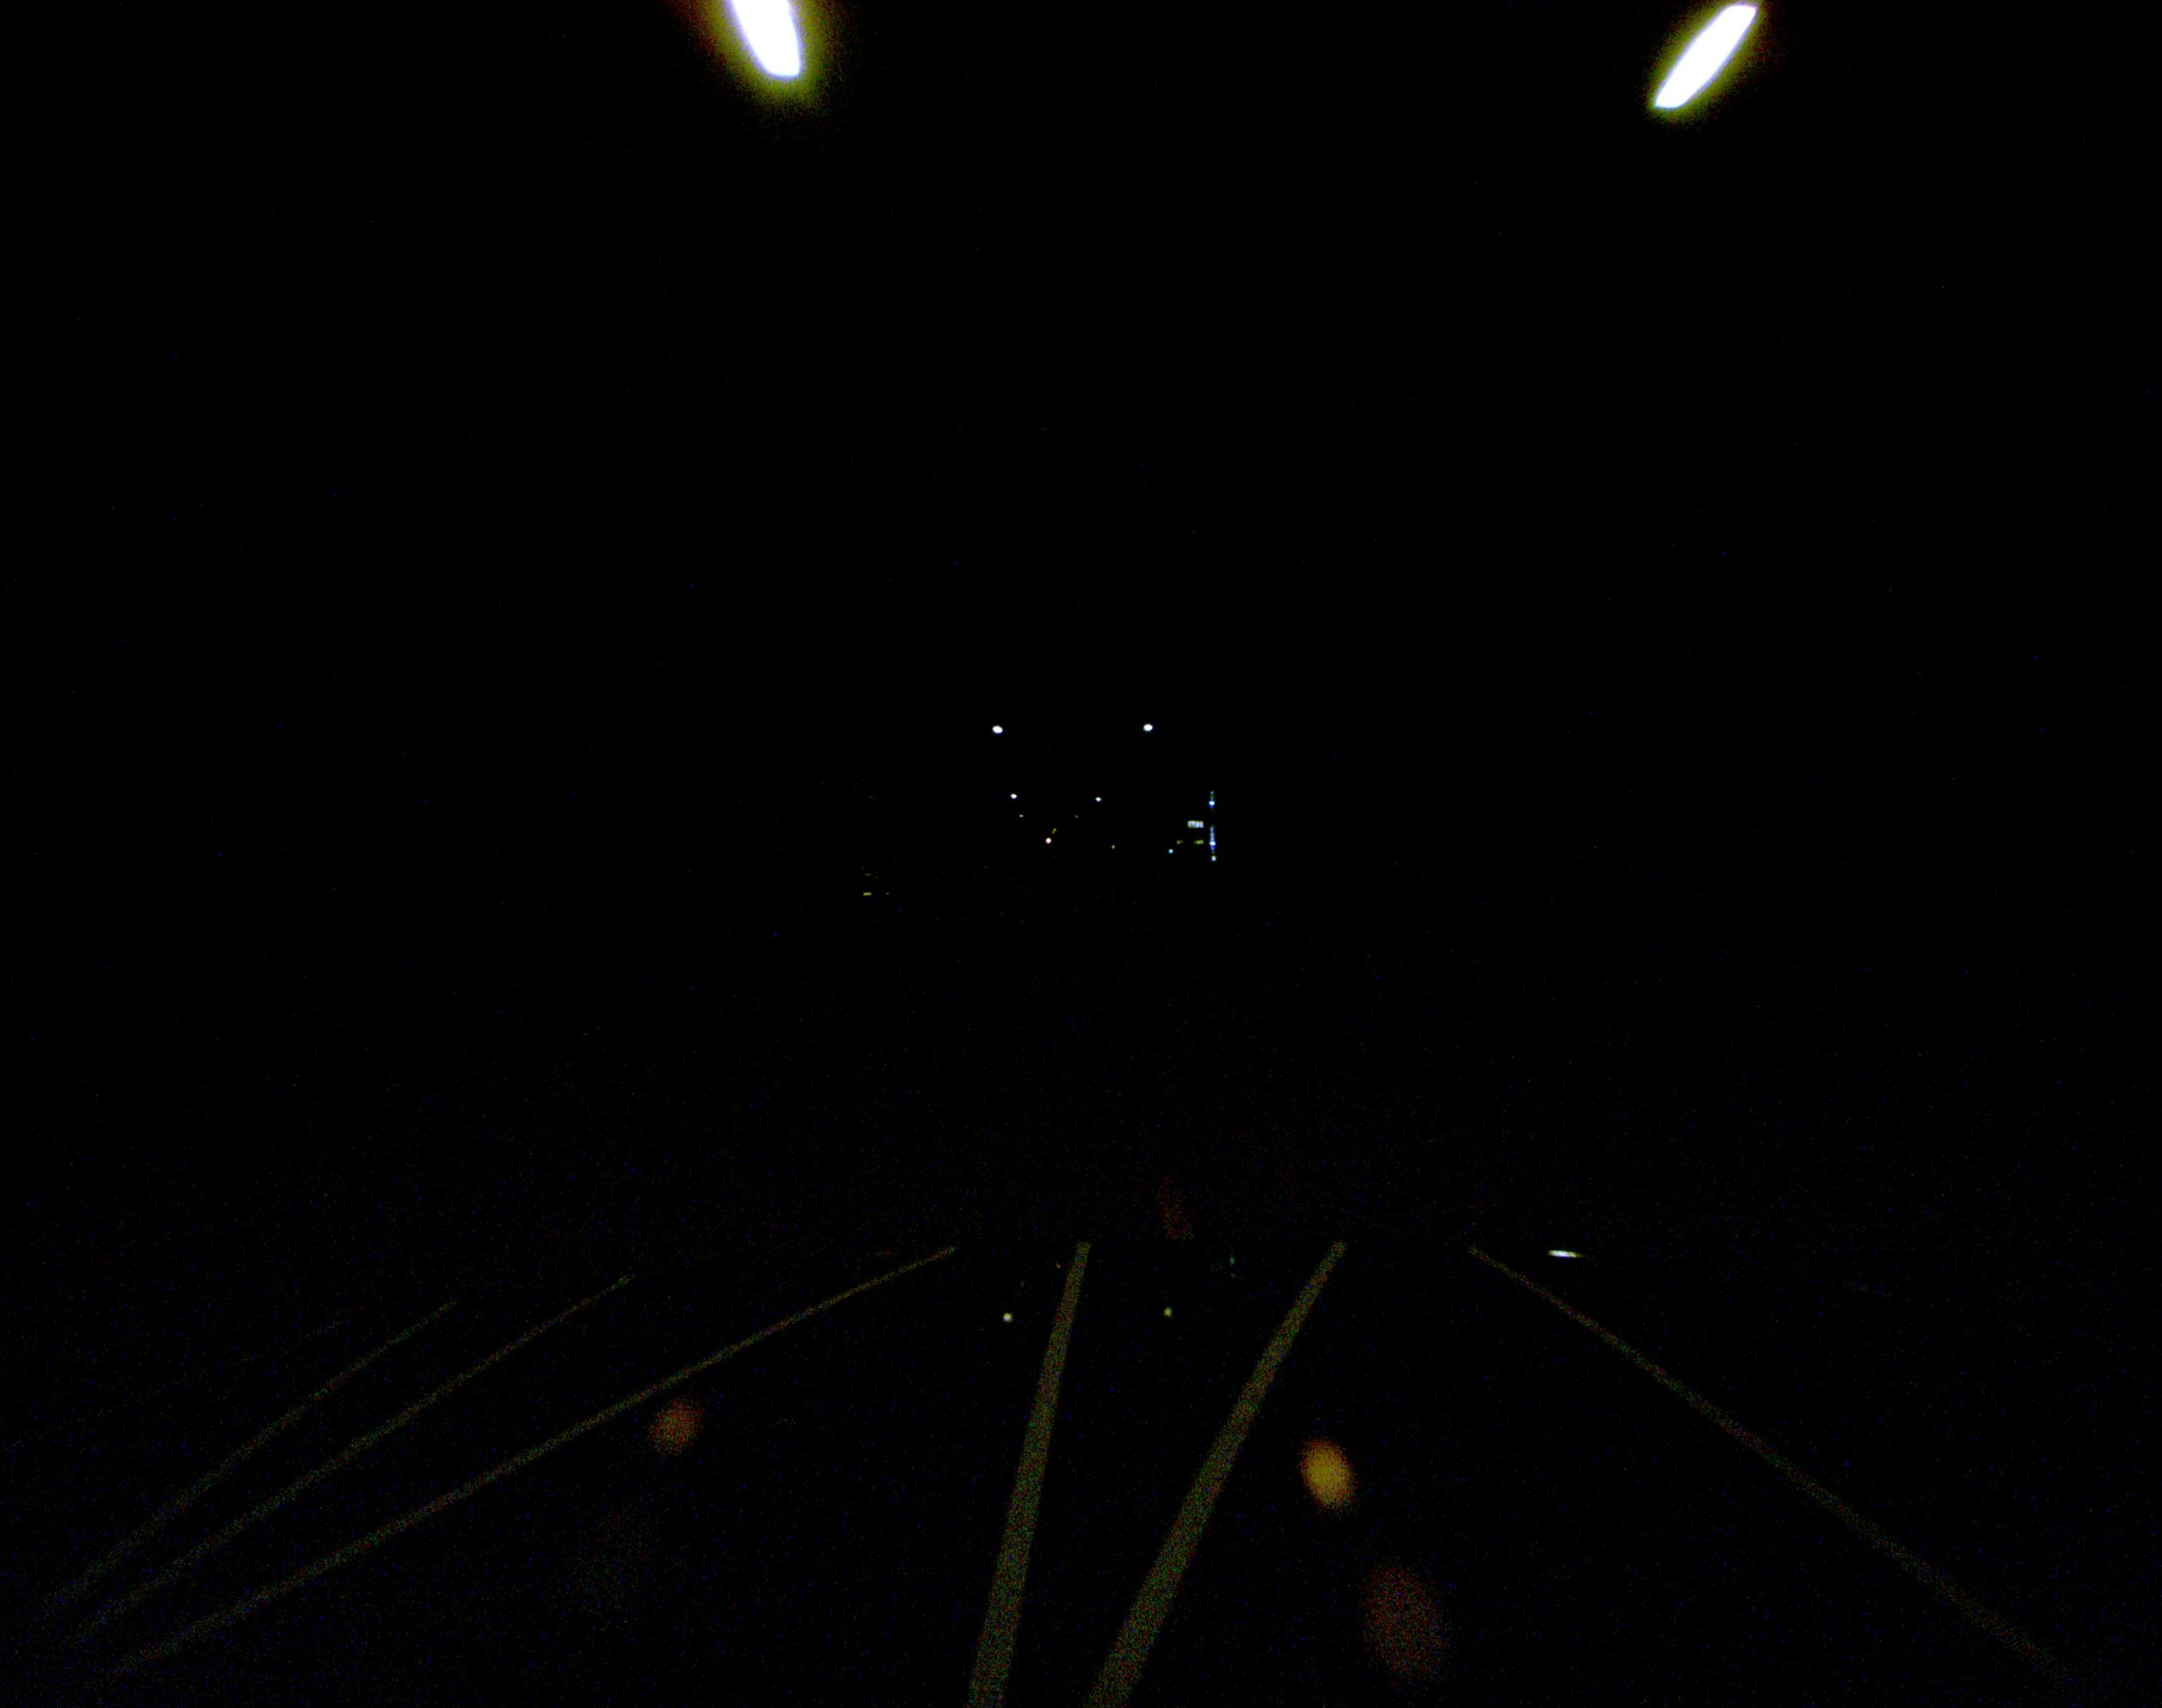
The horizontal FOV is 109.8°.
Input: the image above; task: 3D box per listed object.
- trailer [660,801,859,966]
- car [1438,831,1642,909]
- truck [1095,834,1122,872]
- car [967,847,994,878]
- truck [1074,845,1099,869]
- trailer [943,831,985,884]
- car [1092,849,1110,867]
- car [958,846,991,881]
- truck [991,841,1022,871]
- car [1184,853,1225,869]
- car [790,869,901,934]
[{"bbox_3d":[-5.751,0.490,14.229,1.999,2.635,4.000,-1,0,0],"label":"trailer"},{"bbox_3d":[12.468,0.420,20.836,4.444,1.960,1.999,-1,0,-4],"label":"car"},{"bbox_3d":[3.328,-0.137,94.008,2.645,4.289,12.821,2,0,-1],"label":"truck"},{"bbox_3d":[-8.686,0.740,66.004,1.999,2.533,6.023,-1,0,-5],"label":"car"},{"bbox_3d":[0.800,0.500,122.072,2.830,3.610,10.395,-1,0,-7],"label":"truck"},{"bbox_3d":[-7.547,0.230,49.277,2.405,3.306,4.360,-1,0,-6],"label":"trailer"},{"bbox_3d":[2.657,0.584,103.223,2.145,2.299,4.467,-1,0,-2],"label":"car"},{"bbox_3d":[-8.199,0.731,59.013,1.946,2.533,6.645,-1,0,-3],"label":"car"},{"bbox_3d":[-9.830,0.290,101.403,2.515,3.814,12.660,-1,0,2],"label":"truck"},{"bbox_3d":[13.188,0.760,81.216,3.999,1.455,1.805,-4,0,-6],"label":"car"},{"bbox_3d":[-5.865,1.121,19.514,1.731,1.378,4.674,-1,0,-5],"label":"car"}]
